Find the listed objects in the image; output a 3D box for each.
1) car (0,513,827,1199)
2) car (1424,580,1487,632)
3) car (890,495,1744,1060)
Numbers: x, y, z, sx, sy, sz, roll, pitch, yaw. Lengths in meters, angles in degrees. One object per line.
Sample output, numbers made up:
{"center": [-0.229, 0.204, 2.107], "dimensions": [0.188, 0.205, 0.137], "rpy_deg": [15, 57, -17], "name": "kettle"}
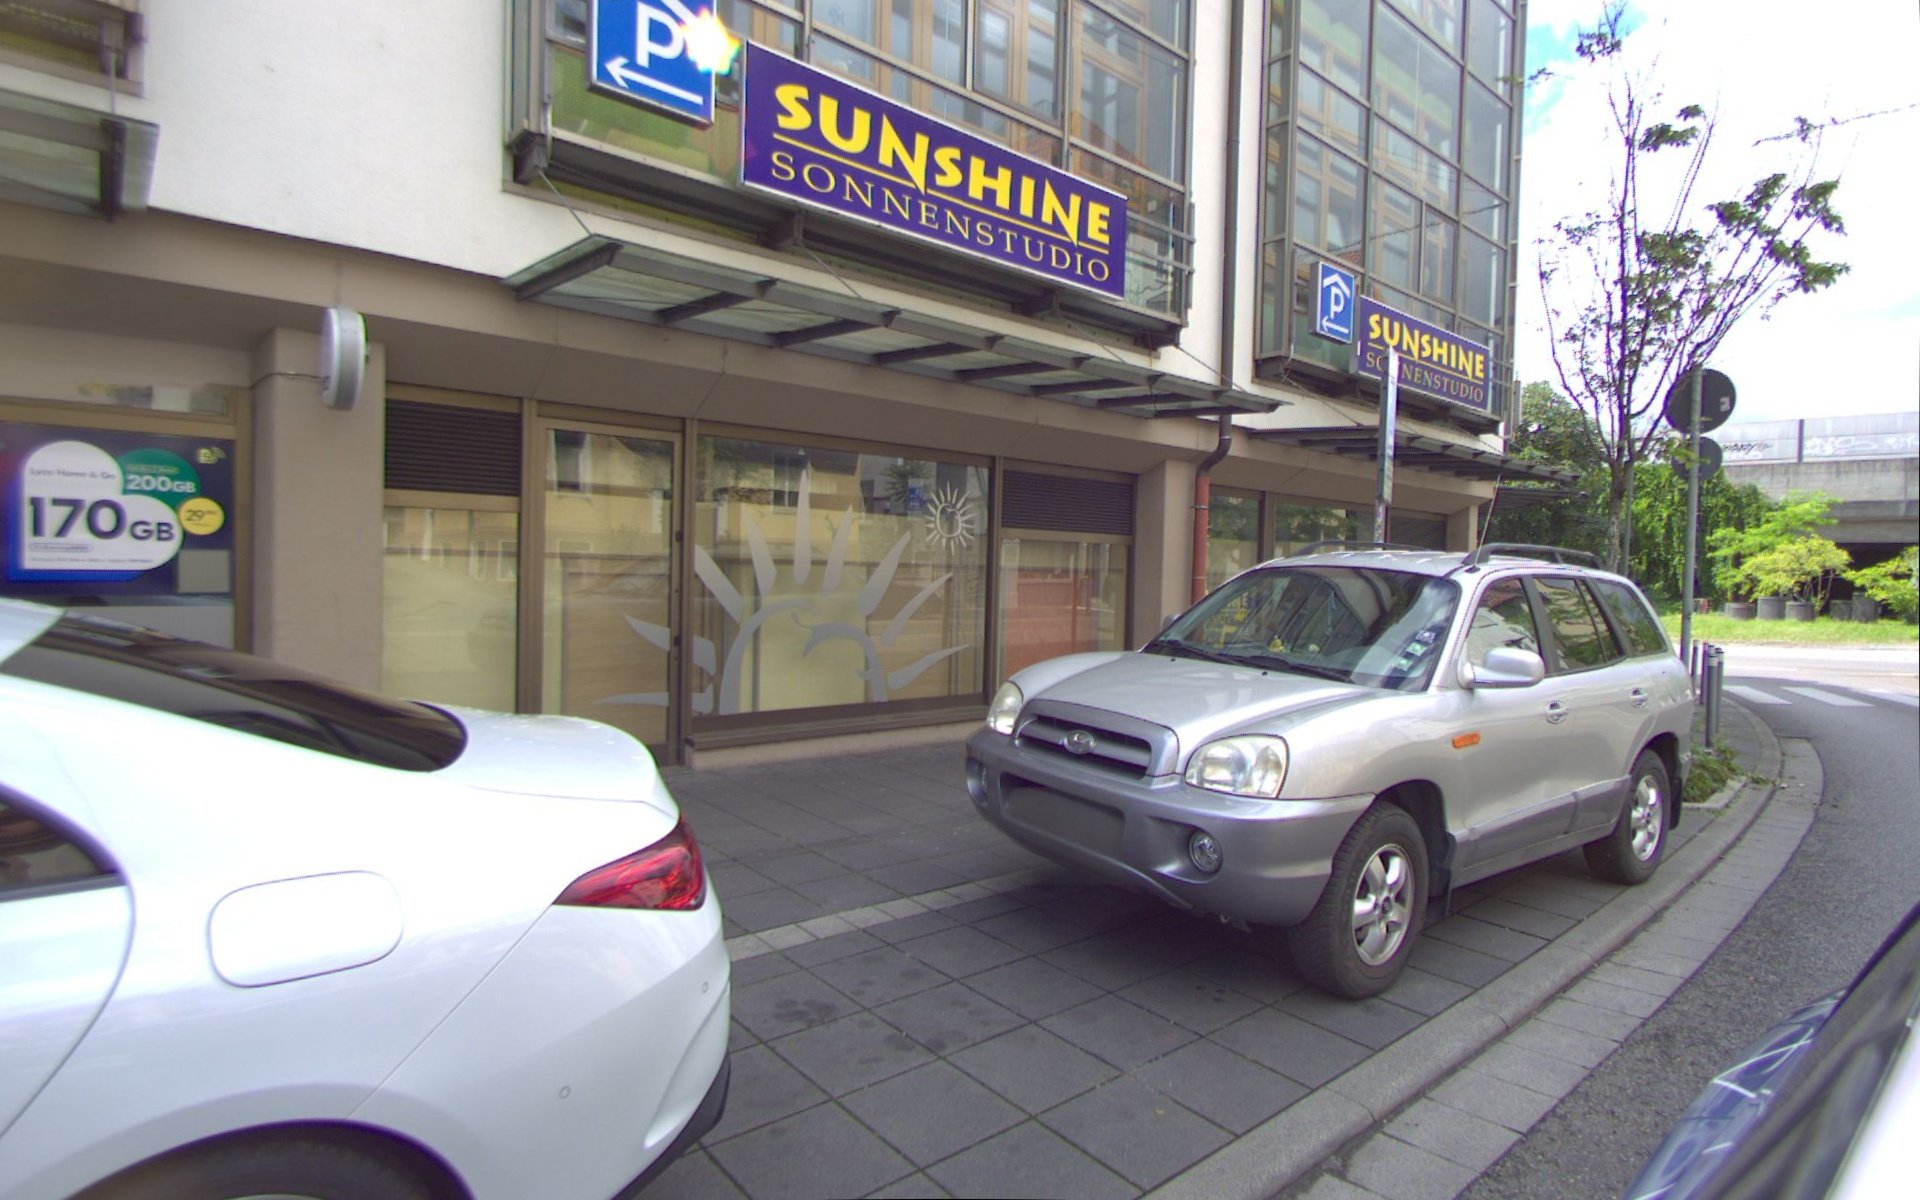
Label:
{"center": [-2.553, 0.601, 1.243], "dimensions": [4.456, 1.463, 1.855], "rpy_deg": [0, 1, -41], "name": "car"}
{"center": [18.358, 0.183, 37.613], "dimensions": [1.979, 1.816, 3.966], "rpy_deg": [0, 0, 25], "name": "car"}
{"center": [2.008, 0.485, 5.044], "dimensions": [4.383, 1.681, 1.827], "rpy_deg": [0, 3, -37], "name": "car"}
